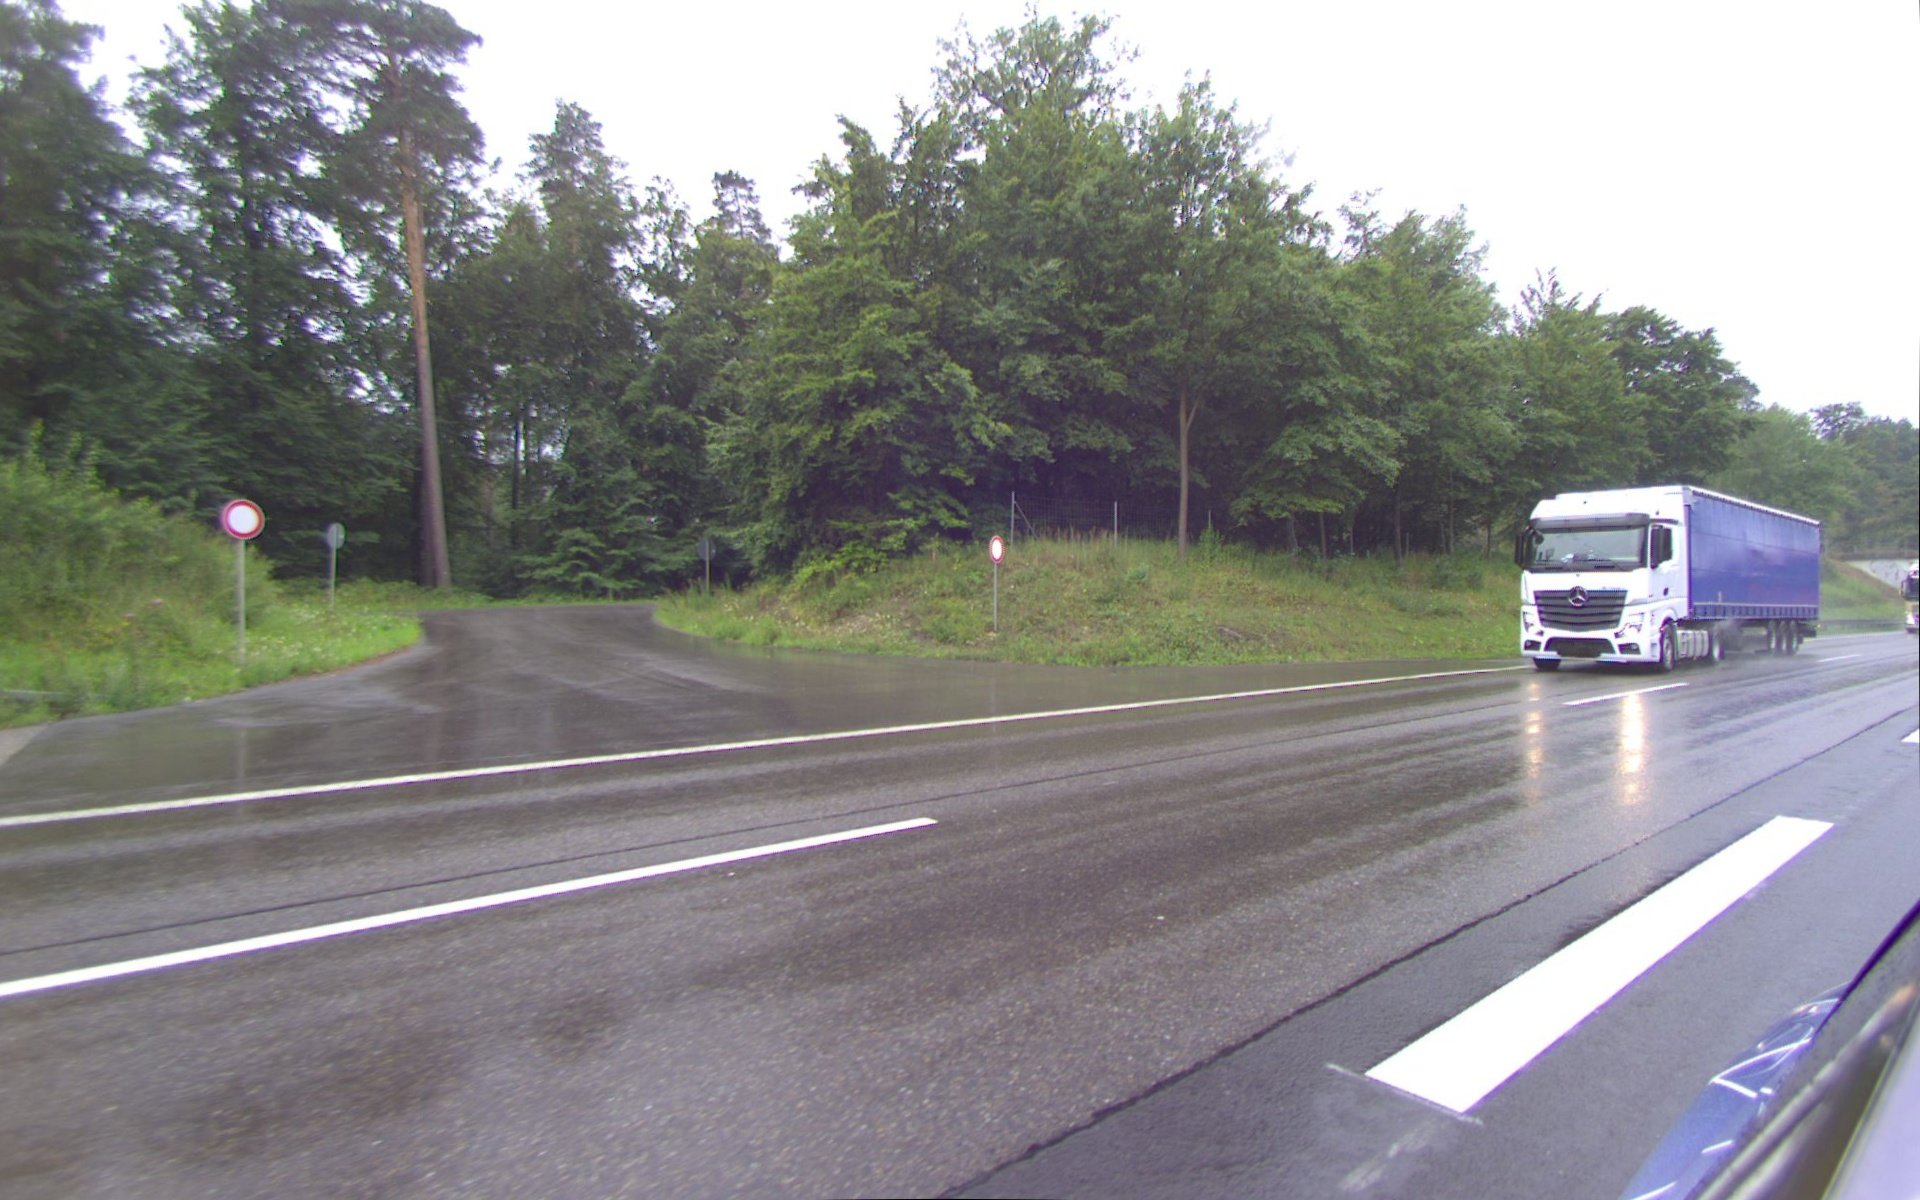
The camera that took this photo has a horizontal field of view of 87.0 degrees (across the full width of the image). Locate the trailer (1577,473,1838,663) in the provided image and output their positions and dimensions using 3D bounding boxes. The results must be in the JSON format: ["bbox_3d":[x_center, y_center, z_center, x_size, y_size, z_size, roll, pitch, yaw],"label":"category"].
[{"bbox_3d":[20.388,-0.718,27.003,13.471,4.064,2.558,0,0,-40],"label":"trailer"}]

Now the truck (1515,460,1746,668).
[{"bbox_3d":[15.124,-0.703,22.684,5.904,4.065,2.607,0,-1,-39],"label":"truck"}]
